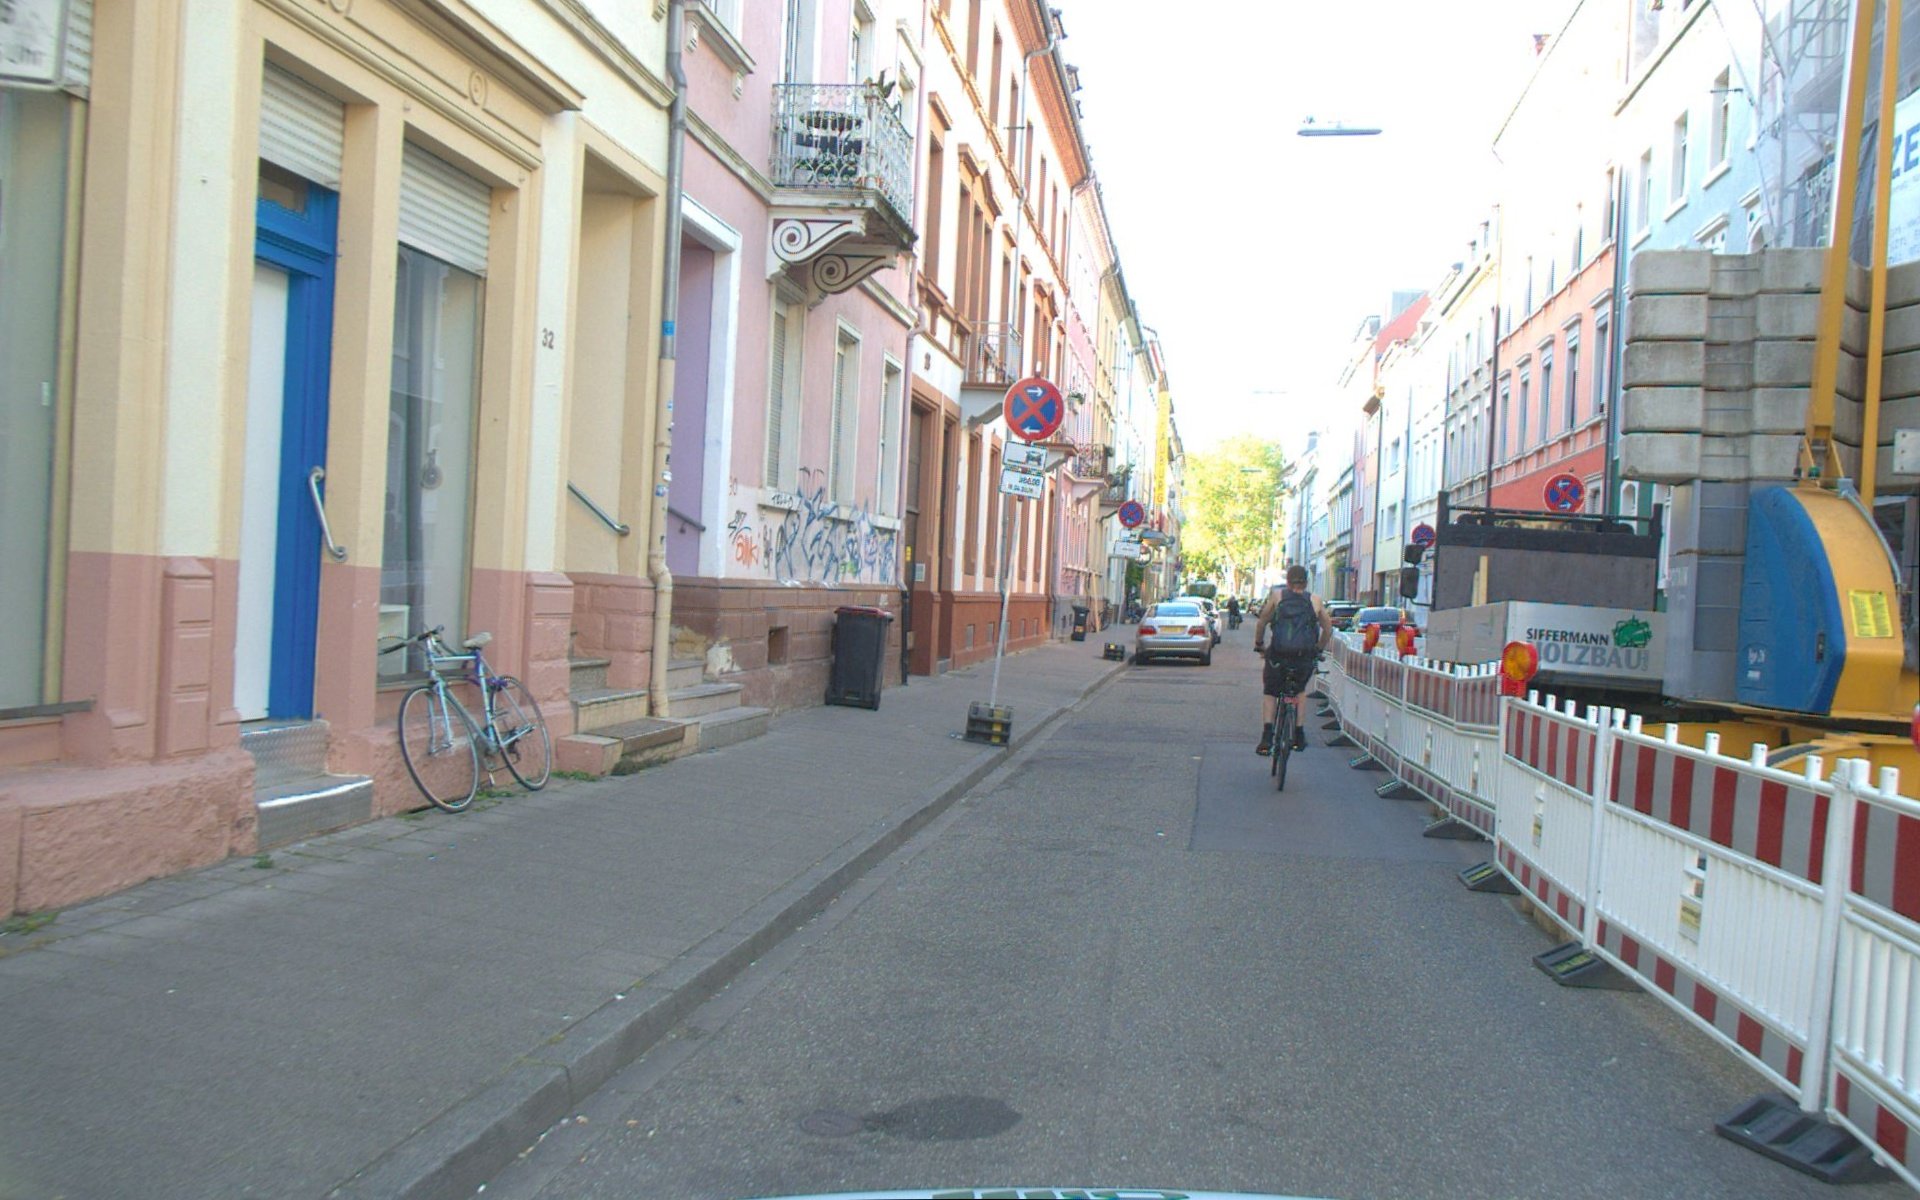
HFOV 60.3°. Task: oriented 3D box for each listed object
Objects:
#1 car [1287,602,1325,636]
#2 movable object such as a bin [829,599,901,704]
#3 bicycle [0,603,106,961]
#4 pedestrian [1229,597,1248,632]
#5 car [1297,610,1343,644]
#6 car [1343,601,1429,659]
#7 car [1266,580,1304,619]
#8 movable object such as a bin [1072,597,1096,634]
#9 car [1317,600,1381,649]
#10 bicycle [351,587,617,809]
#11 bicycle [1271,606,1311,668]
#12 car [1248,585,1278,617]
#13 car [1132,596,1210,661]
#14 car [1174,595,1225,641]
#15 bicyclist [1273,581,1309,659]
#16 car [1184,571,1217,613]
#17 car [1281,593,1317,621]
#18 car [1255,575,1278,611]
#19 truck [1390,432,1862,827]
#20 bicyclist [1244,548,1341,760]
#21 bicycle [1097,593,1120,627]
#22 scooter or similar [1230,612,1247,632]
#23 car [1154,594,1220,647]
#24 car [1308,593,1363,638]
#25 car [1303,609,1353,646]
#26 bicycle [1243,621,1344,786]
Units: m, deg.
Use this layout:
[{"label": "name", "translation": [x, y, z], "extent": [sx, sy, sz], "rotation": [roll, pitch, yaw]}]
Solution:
[{"label": "car", "translation": [16.920, 0.922, 80.914], "extent": [1.586, 1.577, 4.003], "rotation": [0, -1, 9]}, {"label": "movable object such as a bin", "translation": [-1.001, 0.541, 17.512], "extent": [0.593, 1.053, 0.597], "rotation": [4, 0, 7]}, {"label": "bicycle", "translation": [-3.212, 0.527, 4.421], "extent": [0.591, 1.039, 1.819], "rotation": [6, 0, 9]}, {"label": "pedestrian", "translation": [13.497, 0.706, 80.179], "extent": [0.754, 1.606, 0.901], "rotation": [4, 0, 6]}, {"label": "car", "translation": [15.470, 1.156, 71.175], "extent": [1.674, 1.407, 4.003], "rotation": [0, -1, 9]}, {"label": "car", "translation": [11.473, 0.799, 44.763], "extent": [1.778, 1.464, 4.794], "rotation": [0, -1, 9]}, {"label": "car", "translation": [22.169, 0.004, 113.037], "extent": [2.258, 2.582, 6.775], "rotation": [0, -1, 9]}, {"label": "movable object such as a bin", "translation": [3.358, 0.430, 44.688], "extent": [0.532, 0.961, 0.488], "rotation": [4, 0, 10]}, {"label": "car", "translation": [12.967, 0.804, 55.292], "extent": [1.778, 1.548, 4.003], "rotation": [0, -1, 9]}, {"label": "bicycle", "translation": [-2.516, 0.476, 8.975], "extent": [0.609, 1.040, 1.819], "rotation": [4, 0, 9]}, {"label": "bicycle", "translation": [7.076, 0.771, 35.426], "extent": [0.687, 1.229, 2.344], "rotation": [1, 1, 8]}, {"label": "car", "translation": [25.324, 0.102, 138.298], "extent": [2.258, 2.582, 6.775], "rotation": [0, -1, 9]}, {"label": "car", "translation": [4.965, 0.638, 38.560], "extent": [1.674, 1.407, 4.509], "rotation": [0, -1, 9]}, {"label": "car", "translation": [8.082, 0.594, 55.738], "extent": [1.636, 1.467, 4.168], "rotation": [0, -1, 9]}, {"label": "bicyclist", "translation": [7.078, 0.422, 35.393], "extent": [0.687, 1.633, 0.813], "rotation": [1, 1, 8]}, {"label": "car", "translation": [14.927, -0.482, 102.751], "extent": [1.869, 2.540, 4.168], "rotation": [2, 0, 7]}, {"label": "car", "translation": [17.604, 0.396, 86.003], "extent": [1.674, 1.418, 4.003], "rotation": [0, -1, 9]}, {"label": "car", "translation": [34.266, -0.746, 184.968], "extent": [2.258, 3.834, 6.775], "rotation": [0, -1, 9]}, {"label": "truck", "translation": [6.059, 0.242, 16.405], "extent": [2.605, 2.863, 7.399], "rotation": [4, 0, 9]}, {"label": "bicyclist", "translation": [2.739, 0.436, 13.717], "extent": [0.687, 1.662, 1.091], "rotation": [2, -1, 9]}, {"label": "bicycle", "translation": [5.176, 0.350, 57.533], "extent": [0.580, 1.107, 2.080], "rotation": [4, 0, 9]}, {"label": "scooter or similar", "translation": [13.426, 1.046, 79.730], "extent": [0.754, 0.888, 0.771], "rotation": [4, 0, 6]}, {"label": "car", "translation": [6.785, 0.572, 49.121], "extent": [1.674, 1.407, 4.359], "rotation": [3, 1, 11]}, {"label": "car", "translation": [13.791, 0.572, 60.883], "extent": [1.674, 1.583, 4.003], "rotation": [0, -1, 9]}, {"label": "car", "translation": [14.602, 1.096, 65.788], "extent": [1.674, 1.407, 4.003], "rotation": [0, -1, 9]}, {"label": "bicycle", "translation": [2.759, 0.807, 13.846], "extent": [0.687, 1.229, 2.344], "rotation": [2, 0, 9]}]
